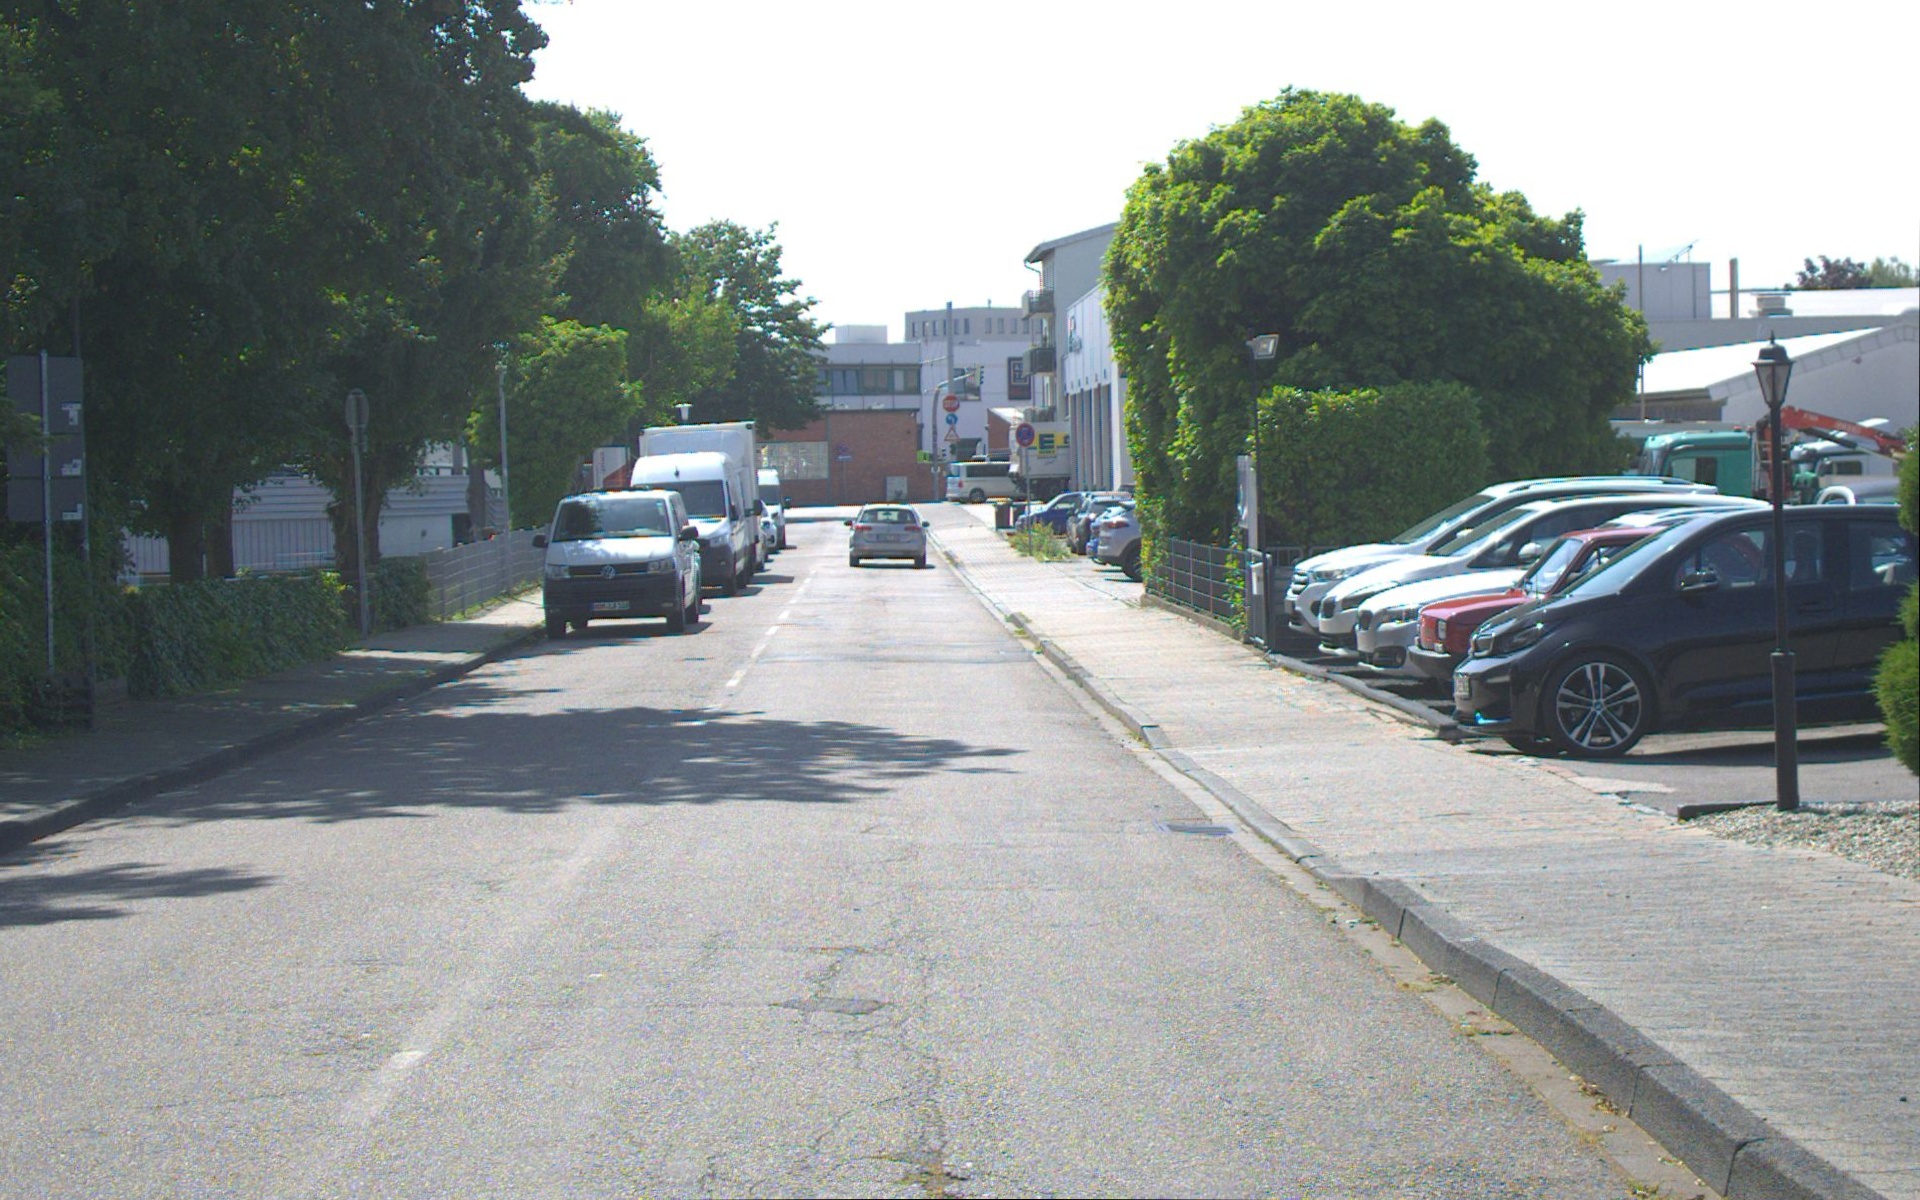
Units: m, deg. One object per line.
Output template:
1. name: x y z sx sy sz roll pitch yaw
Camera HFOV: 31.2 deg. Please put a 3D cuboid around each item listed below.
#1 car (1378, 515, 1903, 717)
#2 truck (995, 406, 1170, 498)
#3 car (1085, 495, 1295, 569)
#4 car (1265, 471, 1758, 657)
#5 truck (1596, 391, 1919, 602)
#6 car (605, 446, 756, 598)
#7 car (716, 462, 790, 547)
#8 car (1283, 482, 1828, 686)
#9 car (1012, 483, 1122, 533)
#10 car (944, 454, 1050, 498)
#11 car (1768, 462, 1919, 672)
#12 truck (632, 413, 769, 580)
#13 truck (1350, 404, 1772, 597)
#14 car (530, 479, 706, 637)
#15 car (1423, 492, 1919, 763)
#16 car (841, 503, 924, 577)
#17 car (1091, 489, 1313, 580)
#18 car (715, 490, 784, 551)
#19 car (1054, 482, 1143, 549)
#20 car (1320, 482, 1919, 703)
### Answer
1. car: 5.051 0.099 25.773 3.549 1.330 1.559 -2 1 -3
2. truck: 5.565 -6.728 156.289 7.357 3.632 2.769 -5 3 -7
3. car: 4.970 -1.489 74.630 4.352 1.436 1.892 -2 2 -2
4. car: 5.298 -0.368 33.370 4.402 1.648 1.844 -2 2 -3
5. truck: 15.813 -1.890 61.672 8.276 3.598 2.953 -1 2 2
6. car: -5.155 -1.469 64.369 2.168 2.587 6.921 -3 2 0
7. car: -6.196 -2.900 103.238 2.005 2.358 5.231 -4 3 -3
8. car: 5.307 -0.163 30.937 4.402 1.522 1.897 -3 1 -6
9. car: 3.264 -2.817 105.143 3.253 1.394 1.673 -2 2 -1
10. car: 1.768 -5.949 164.670 4.653 1.951 1.917 -2 3 -20
11. car: 9.086 -0.327 32.290 1.993 1.853 3.789 0 1 -2
12. truck: -5.590 -2.219 74.243 2.685 3.354 7.131 -2 2 -4
13. truck: 11.441 -1.907 65.877 7.517 3.411 2.527 2 2 -1
14. car: -4.750 -0.631 48.399 1.971 2.006 5.057 -3 2 -1
15. car: 5.132 0.137 22.759 3.802 1.618 1.760 -2 1 -3
16. car: -1.857 -1.429 81.708 1.890 1.679 3.958 -1 1 -2
17. car: 4.805 -1.317 68.502 4.200 1.676 1.767 2 2 -2
18. car: -6.030 -2.297 98.081 1.704 1.618 3.975 -3 2 -6
19. car: 3.497 -2.162 87.453 1.858 1.562 4.952 -2 2 -2
20. car: 5.369 -0.079 28.266 4.402 1.492 1.897 -3 1 -6
